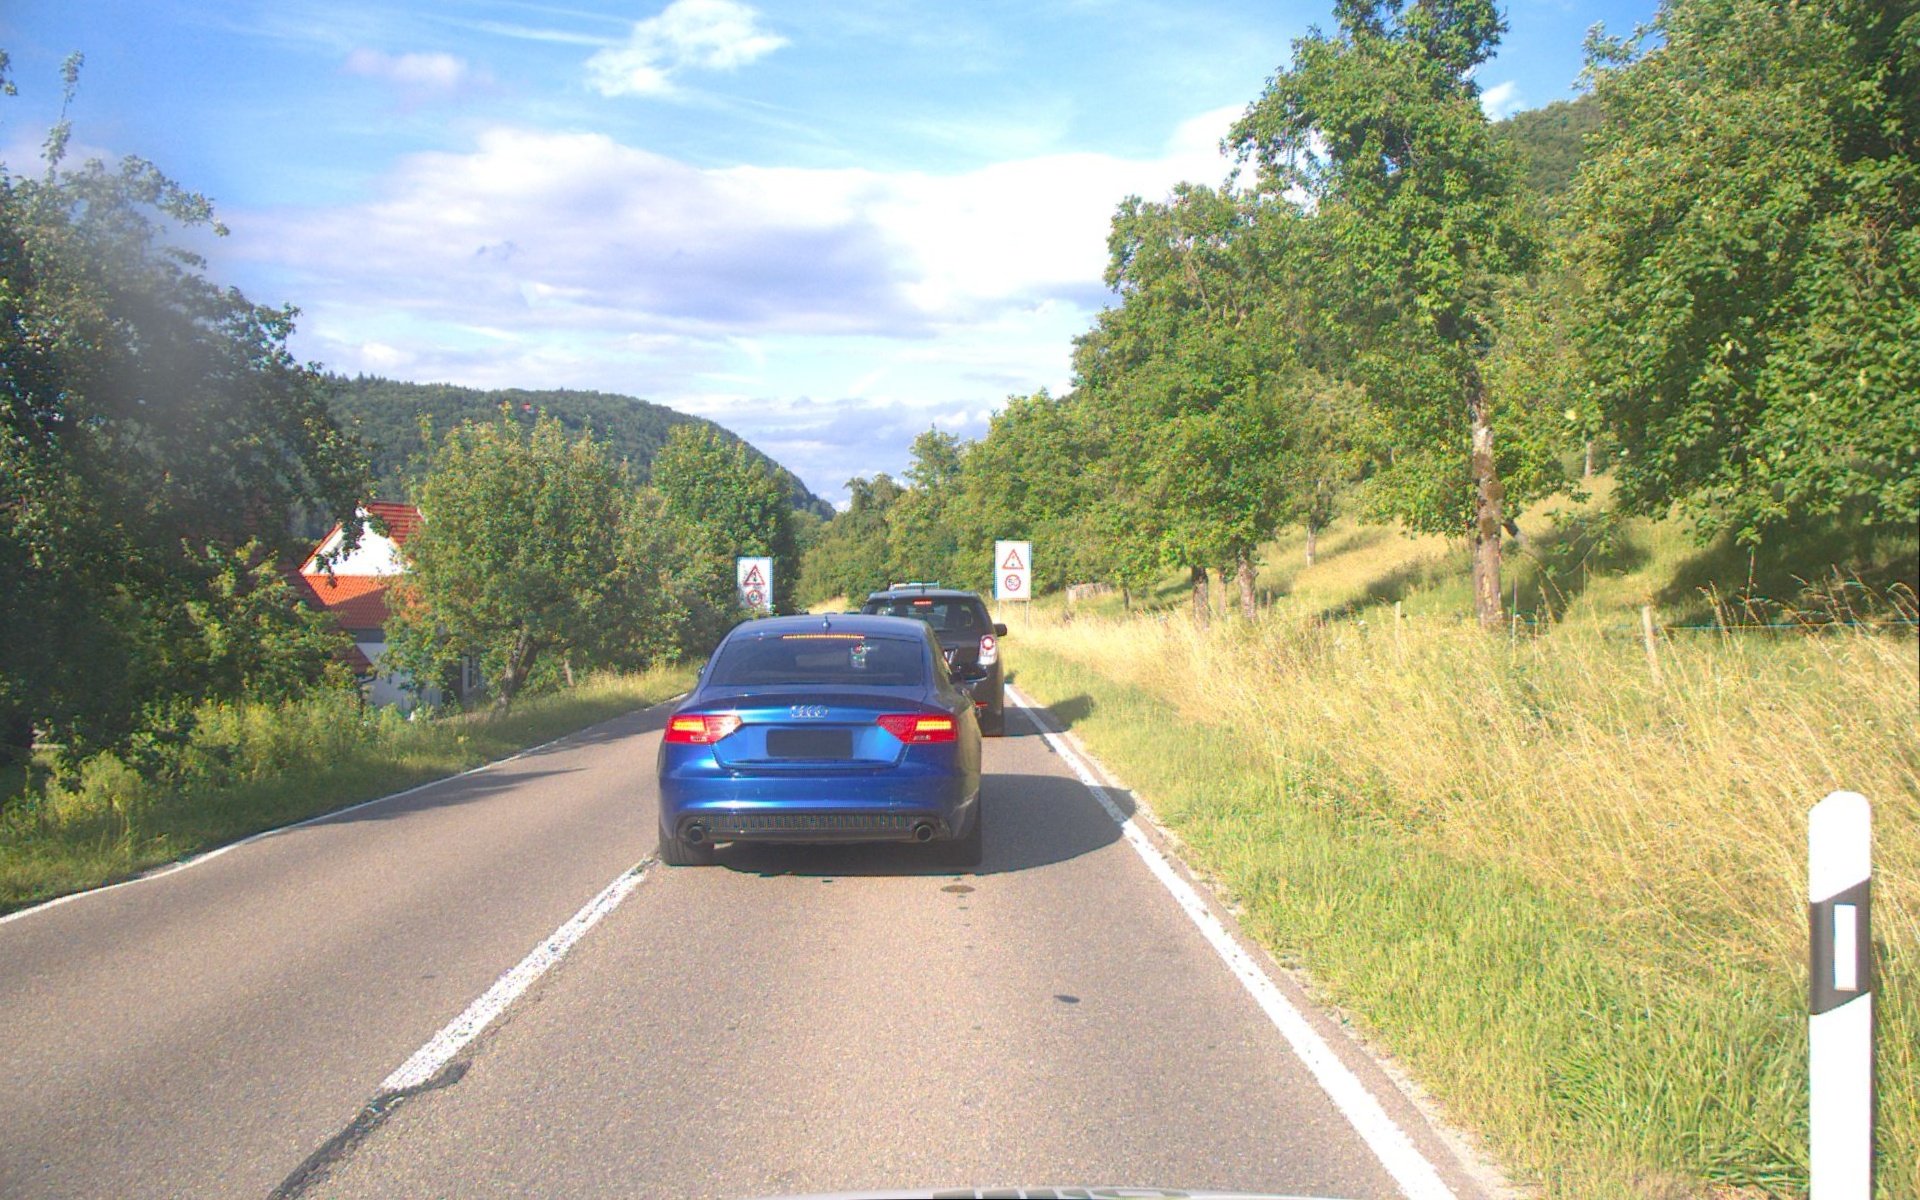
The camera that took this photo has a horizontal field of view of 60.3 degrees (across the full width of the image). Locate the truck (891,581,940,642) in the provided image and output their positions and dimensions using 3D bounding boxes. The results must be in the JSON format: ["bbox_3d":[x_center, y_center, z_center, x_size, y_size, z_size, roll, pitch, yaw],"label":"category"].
[{"bbox_3d":[-1.865,0.462,69.035,1.910,2.386,5.092,2,0,-2],"label":"truck"}]

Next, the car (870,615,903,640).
[{"bbox_3d":[-4.907,1.843,110.352,1.716,1.522,3.770,2,0,-9],"label":"car"}]

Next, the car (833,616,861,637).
[{"bbox_3d":[-8.798,2.046,128.644,1.716,1.522,3.768,2,0,-11],"label":"car"}]

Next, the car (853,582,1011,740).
[{"bbox_3d":[-0.332,0.636,19.318,1.658,1.652,3.788,1,0,-1],"label":"car"}]

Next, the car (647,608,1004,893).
[{"bbox_3d":[-0.694,0.763,10.360,1.769,1.406,4.214,0,0,-1],"label":"car"}]

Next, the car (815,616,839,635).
[{"bbox_3d":[-11.495,2.228,142.669,1.531,1.522,3.766,2,0,-12],"label":"car"}]

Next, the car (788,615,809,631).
[{"bbox_3d":[-15.707,2.232,161.033,1.532,1.522,3.765,2,0,-13],"label":"car"}]

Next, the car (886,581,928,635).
[{"bbox_3d":[-2.557,0.371,78.925,1.757,2.496,3.916,2,0,-4],"label":"car"}]

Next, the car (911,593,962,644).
[{"bbox_3d":[-0.795,0.595,55.636,1.658,1.652,3.788,1,0,-1],"label":"car"}]
